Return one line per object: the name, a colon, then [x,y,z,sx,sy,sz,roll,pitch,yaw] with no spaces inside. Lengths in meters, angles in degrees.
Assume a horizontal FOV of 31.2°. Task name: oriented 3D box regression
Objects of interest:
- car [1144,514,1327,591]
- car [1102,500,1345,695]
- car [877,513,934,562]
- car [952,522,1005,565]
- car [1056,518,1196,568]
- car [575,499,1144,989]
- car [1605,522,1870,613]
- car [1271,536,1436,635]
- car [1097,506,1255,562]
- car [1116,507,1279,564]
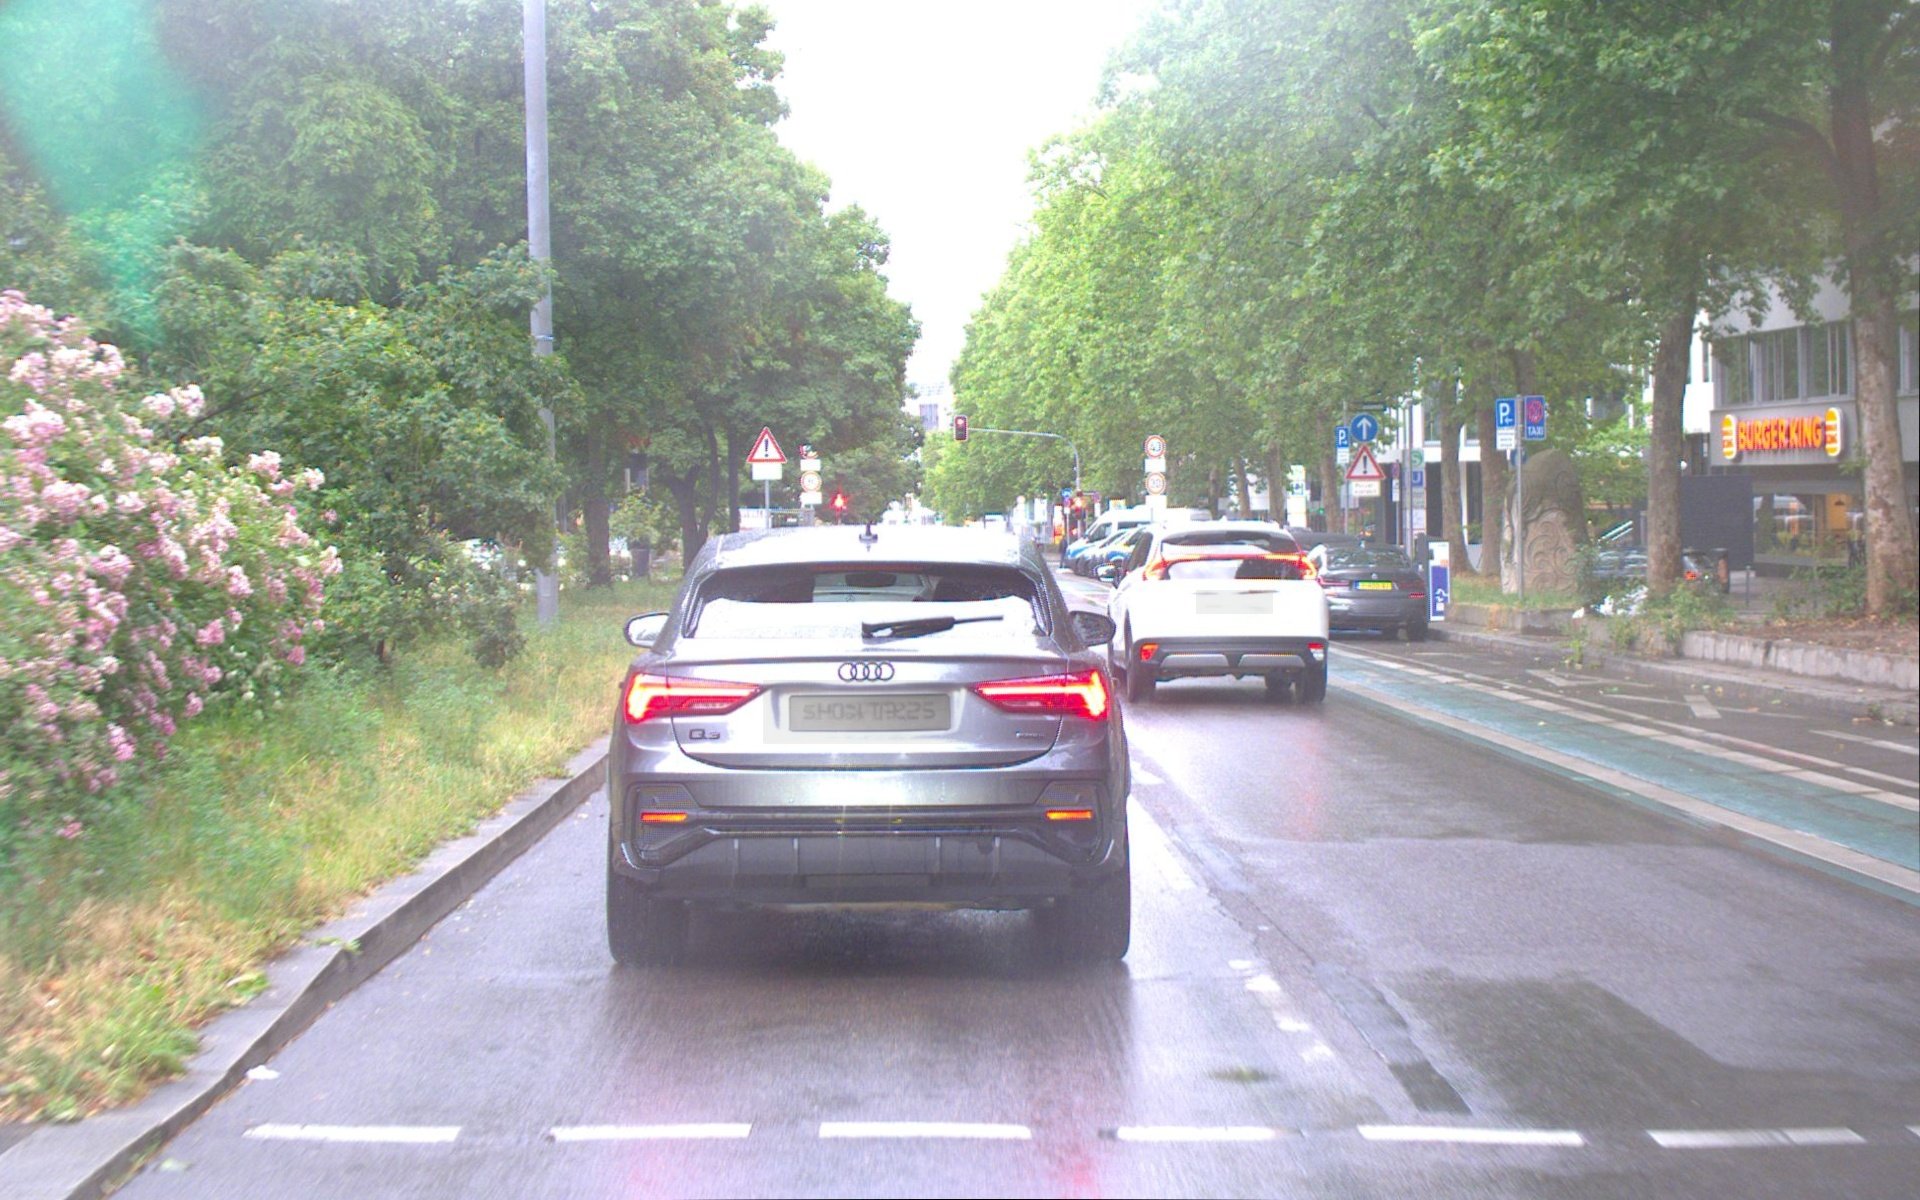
car: [7.461,-1.288,93.346,4.602,2.007,1.964,1,1,37]
car: [2.405,-0.040,32.316,1.878,1.691,4.000,1,0,-1]
car: [-1.994,-2.275,125.383,1.993,1.720,4.000,1,0,-2]
car: [0.709,-2.210,135.063,1.993,1.645,4.000,1,0,-1]
car: [6.004,-2.066,124.616,4.645,1.700,1.997,1,0,27]
car: [-0.399,0.438,13.228,1.849,1.596,4.000,0,1,-2]
car: [9.620,-0.403,42.558,2.889,1.071,1.453,1,1,30]
car: [5.956,-0.247,52.523,1.873,1.416,4.611,1,1,-1]
car: [6.958,-2.125,110.690,4.645,1.700,1.997,1,0,27]
car: [7.402,-2.003,107.123,4.645,1.700,1.997,1,0,27]
